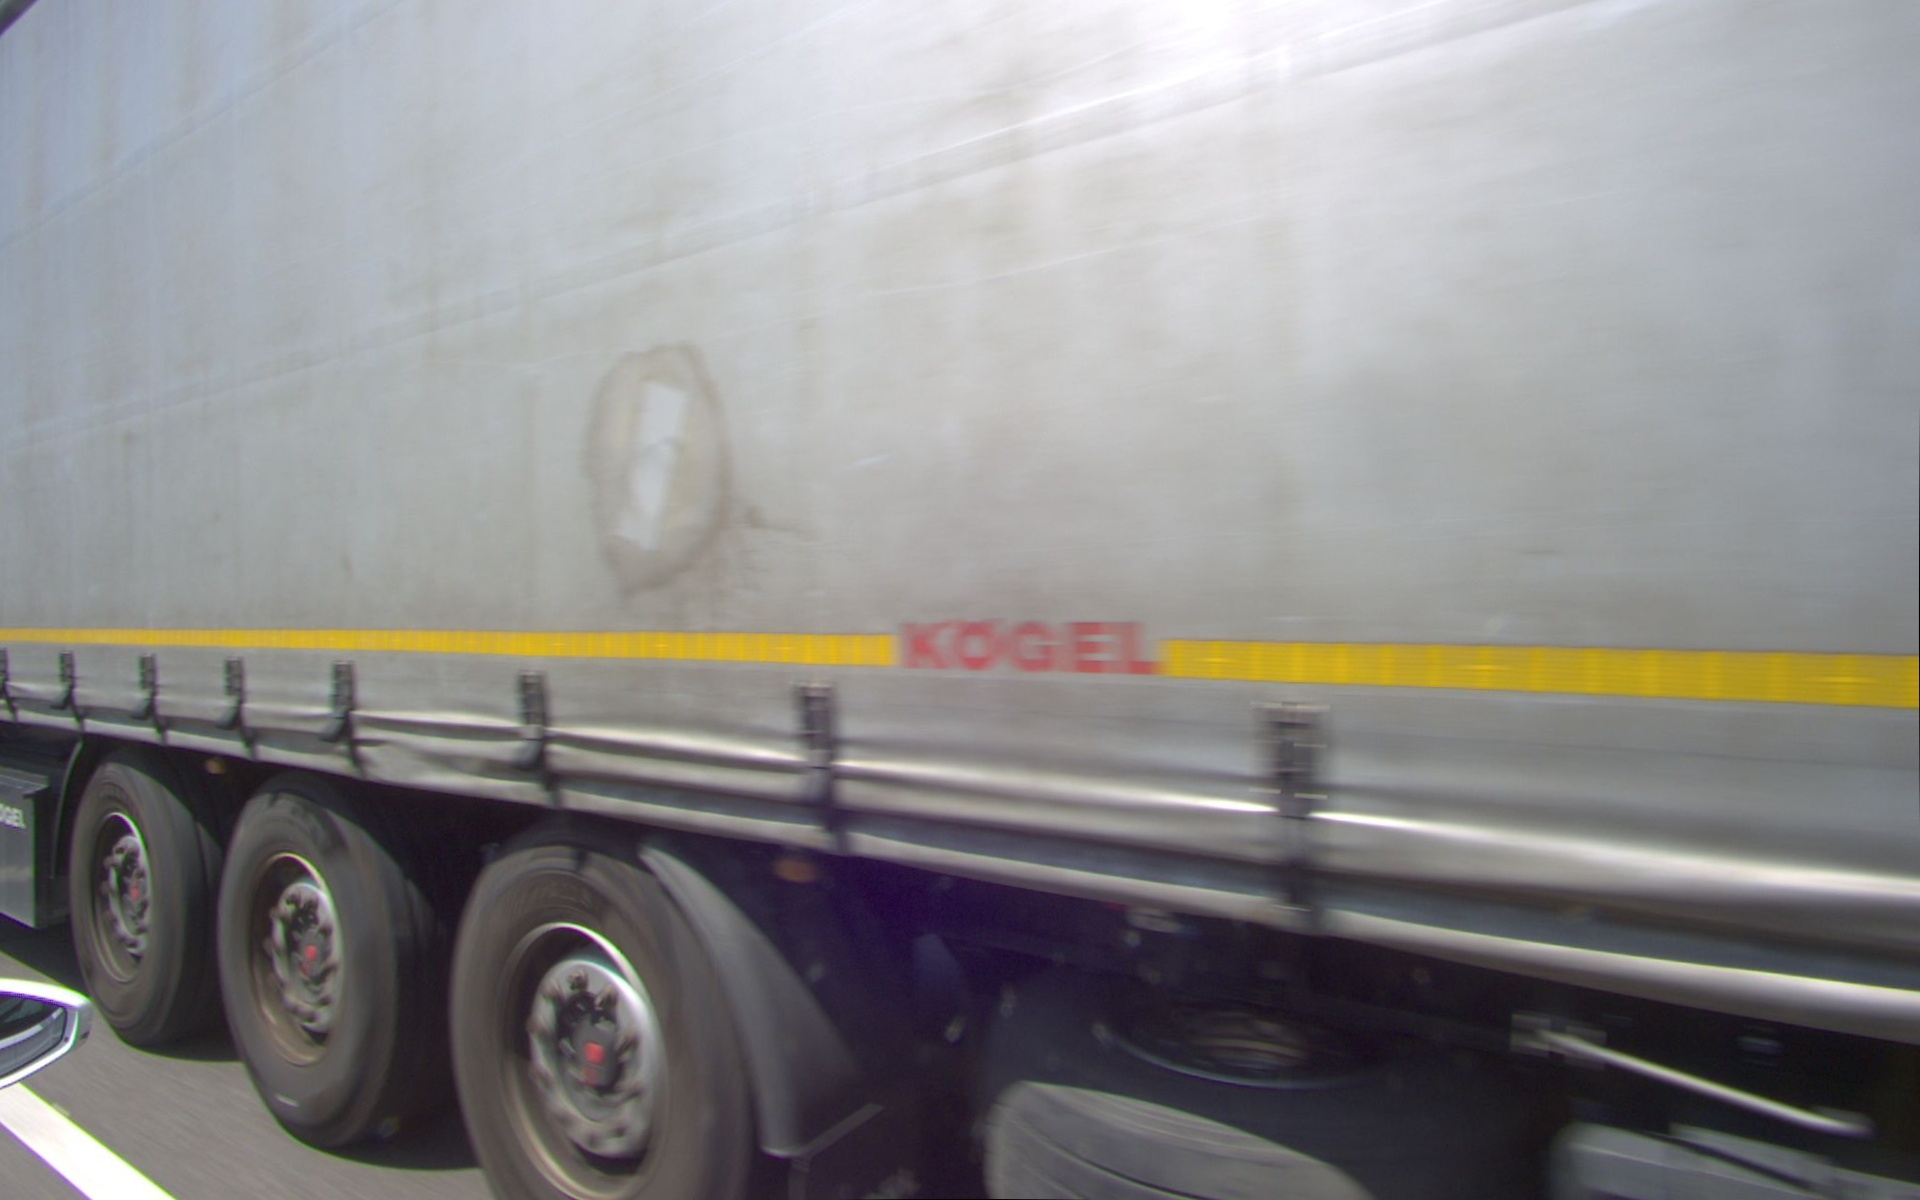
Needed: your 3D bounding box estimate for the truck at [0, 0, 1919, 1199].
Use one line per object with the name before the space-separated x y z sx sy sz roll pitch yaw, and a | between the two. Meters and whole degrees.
truck | -4.794 -0.493 5.959 16.422 4.697 2.750 -3 -2 33
